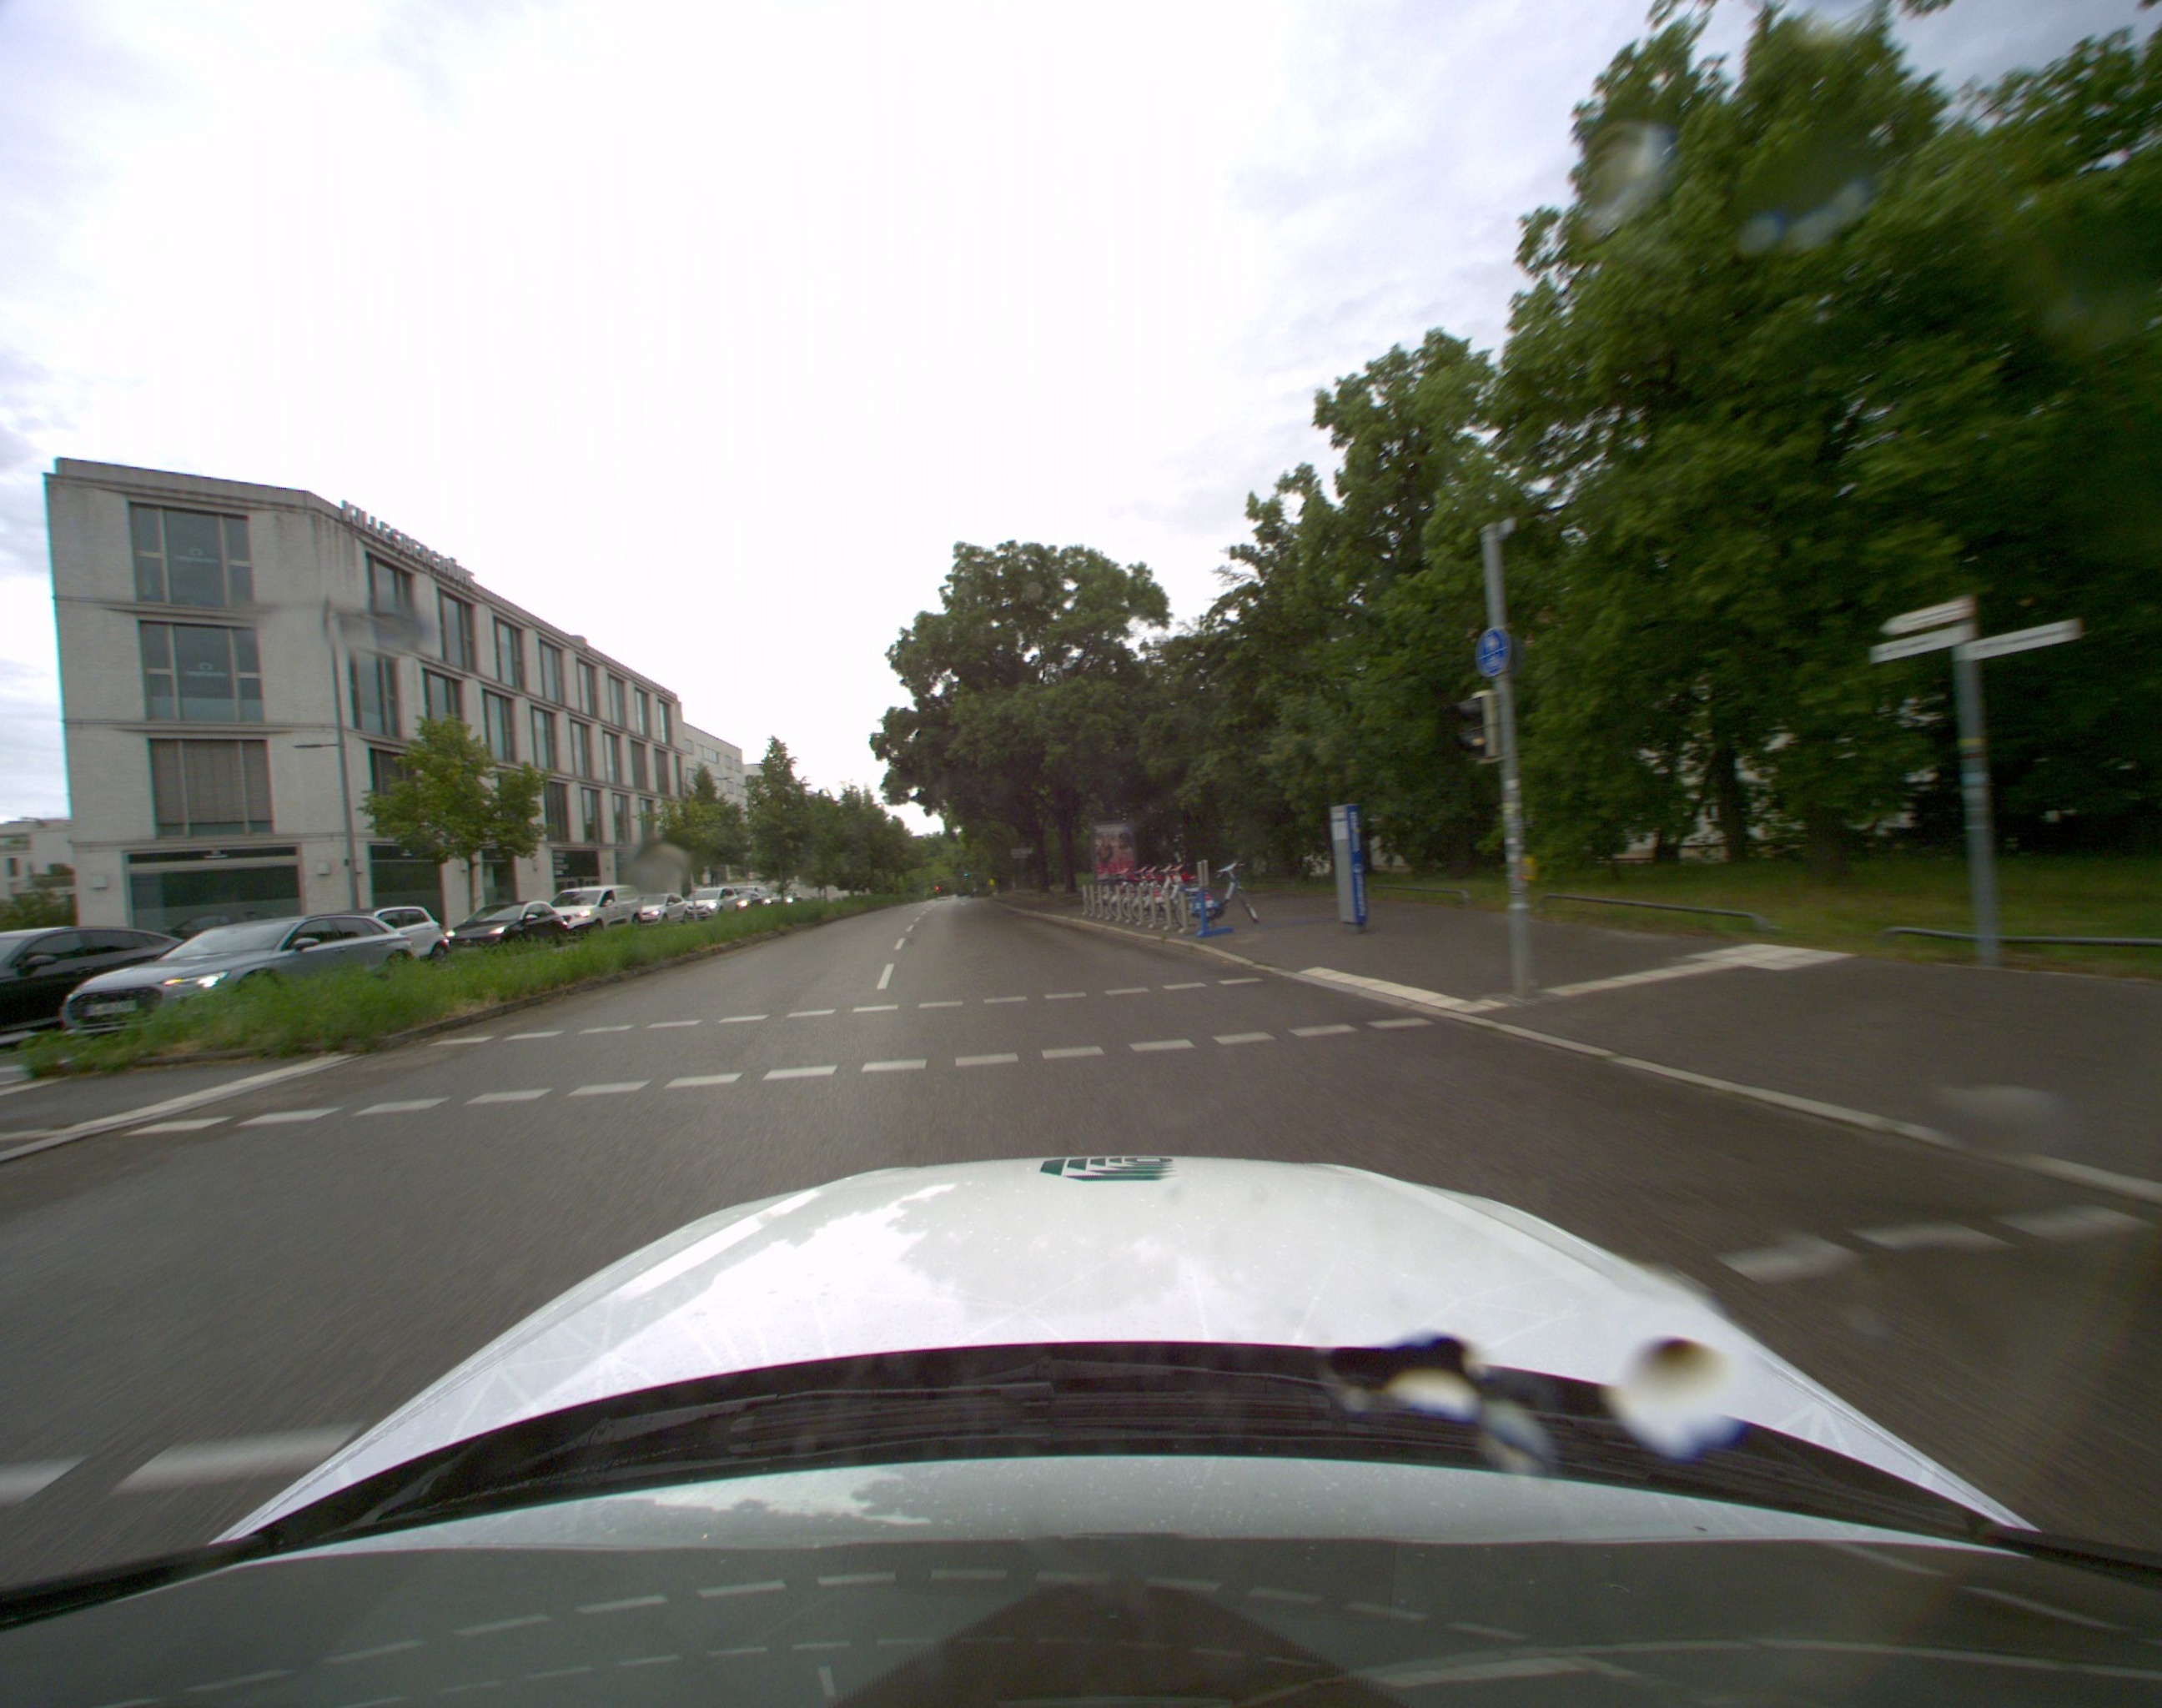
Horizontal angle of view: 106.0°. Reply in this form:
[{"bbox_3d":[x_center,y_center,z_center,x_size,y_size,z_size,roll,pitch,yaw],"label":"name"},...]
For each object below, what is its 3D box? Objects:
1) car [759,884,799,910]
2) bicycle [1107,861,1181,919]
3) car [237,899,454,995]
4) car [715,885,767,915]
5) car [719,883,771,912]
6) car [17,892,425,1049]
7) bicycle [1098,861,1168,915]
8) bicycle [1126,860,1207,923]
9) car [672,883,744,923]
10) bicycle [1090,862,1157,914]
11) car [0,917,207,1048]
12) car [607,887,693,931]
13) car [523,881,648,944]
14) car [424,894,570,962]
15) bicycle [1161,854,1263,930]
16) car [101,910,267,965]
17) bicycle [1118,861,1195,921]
[{"bbox_3d":[-21.070,2.994,57.014,1.694,1.581,4.006,-4,-1,-8],"label":"car"},{"bbox_3d":[1.457,0.832,18.862,1.488,1.131,0.554,-7,-1,-14],"label":"bicycle"},{"bbox_3d":[-16.034,1.935,18.040,1.649,1.576,3.692,-5,0,-8],"label":"car"},{"bbox_3d":[-19.617,2.619,47.159,1.640,1.410,3.987,-5,0,-7],"label":"car"},{"bbox_3d":[-23.873,3.075,58.052,2.121,1.816,5.244,-4,-2,-8],"label":"car"},{"bbox_3d":[-12.023,1.496,11.906,1.848,1.575,4.152,-3,0,-8],"label":"car"},{"bbox_3d":[1.277,0.826,19.964,1.488,1.131,0.554,-7,-1,-14],"label":"bicycle"},{"bbox_3d":[1.795,0.791,17.160,1.488,1.131,0.554,-7,-1,-14],"label":"bicycle"},{"bbox_3d":[-18.791,2.440,41.282,1.828,1.600,4.663,-5,0,-7],"label":"car"},{"bbox_3d":[1.081,0.863,20.788,1.488,1.131,0.554,-7,-1,-14],"label":"bicycle"},{"bbox_3d":[-15.180,1.861,11.363,1.825,1.519,4.052,-5,0,-9],"label":"car"},{"bbox_3d":[-18.126,2.276,34.476,1.742,1.467,4.050,-5,0,-7],"label":"car"},{"bbox_3d":[-17.221,1.961,28.618,1.842,1.802,4.761,-3,0,-7],"label":"car"},{"bbox_3d":[-16.534,2.036,23.306,1.714,1.460,3.740,-5,0,-8],"label":"car"},{"bbox_3d":[2.342,0.674,14.556,1.598,1.131,0.554,-7,-1,-14],"label":"bicycle"},{"bbox_3d":[-29.113,2.670,26.579,3.309,1.376,1.551,-3,-1,-34],"label":"car"},{"bbox_3d":[1.658,0.808,17.958,1.488,1.131,0.554,-7,-1,-14],"label":"bicycle"}]
